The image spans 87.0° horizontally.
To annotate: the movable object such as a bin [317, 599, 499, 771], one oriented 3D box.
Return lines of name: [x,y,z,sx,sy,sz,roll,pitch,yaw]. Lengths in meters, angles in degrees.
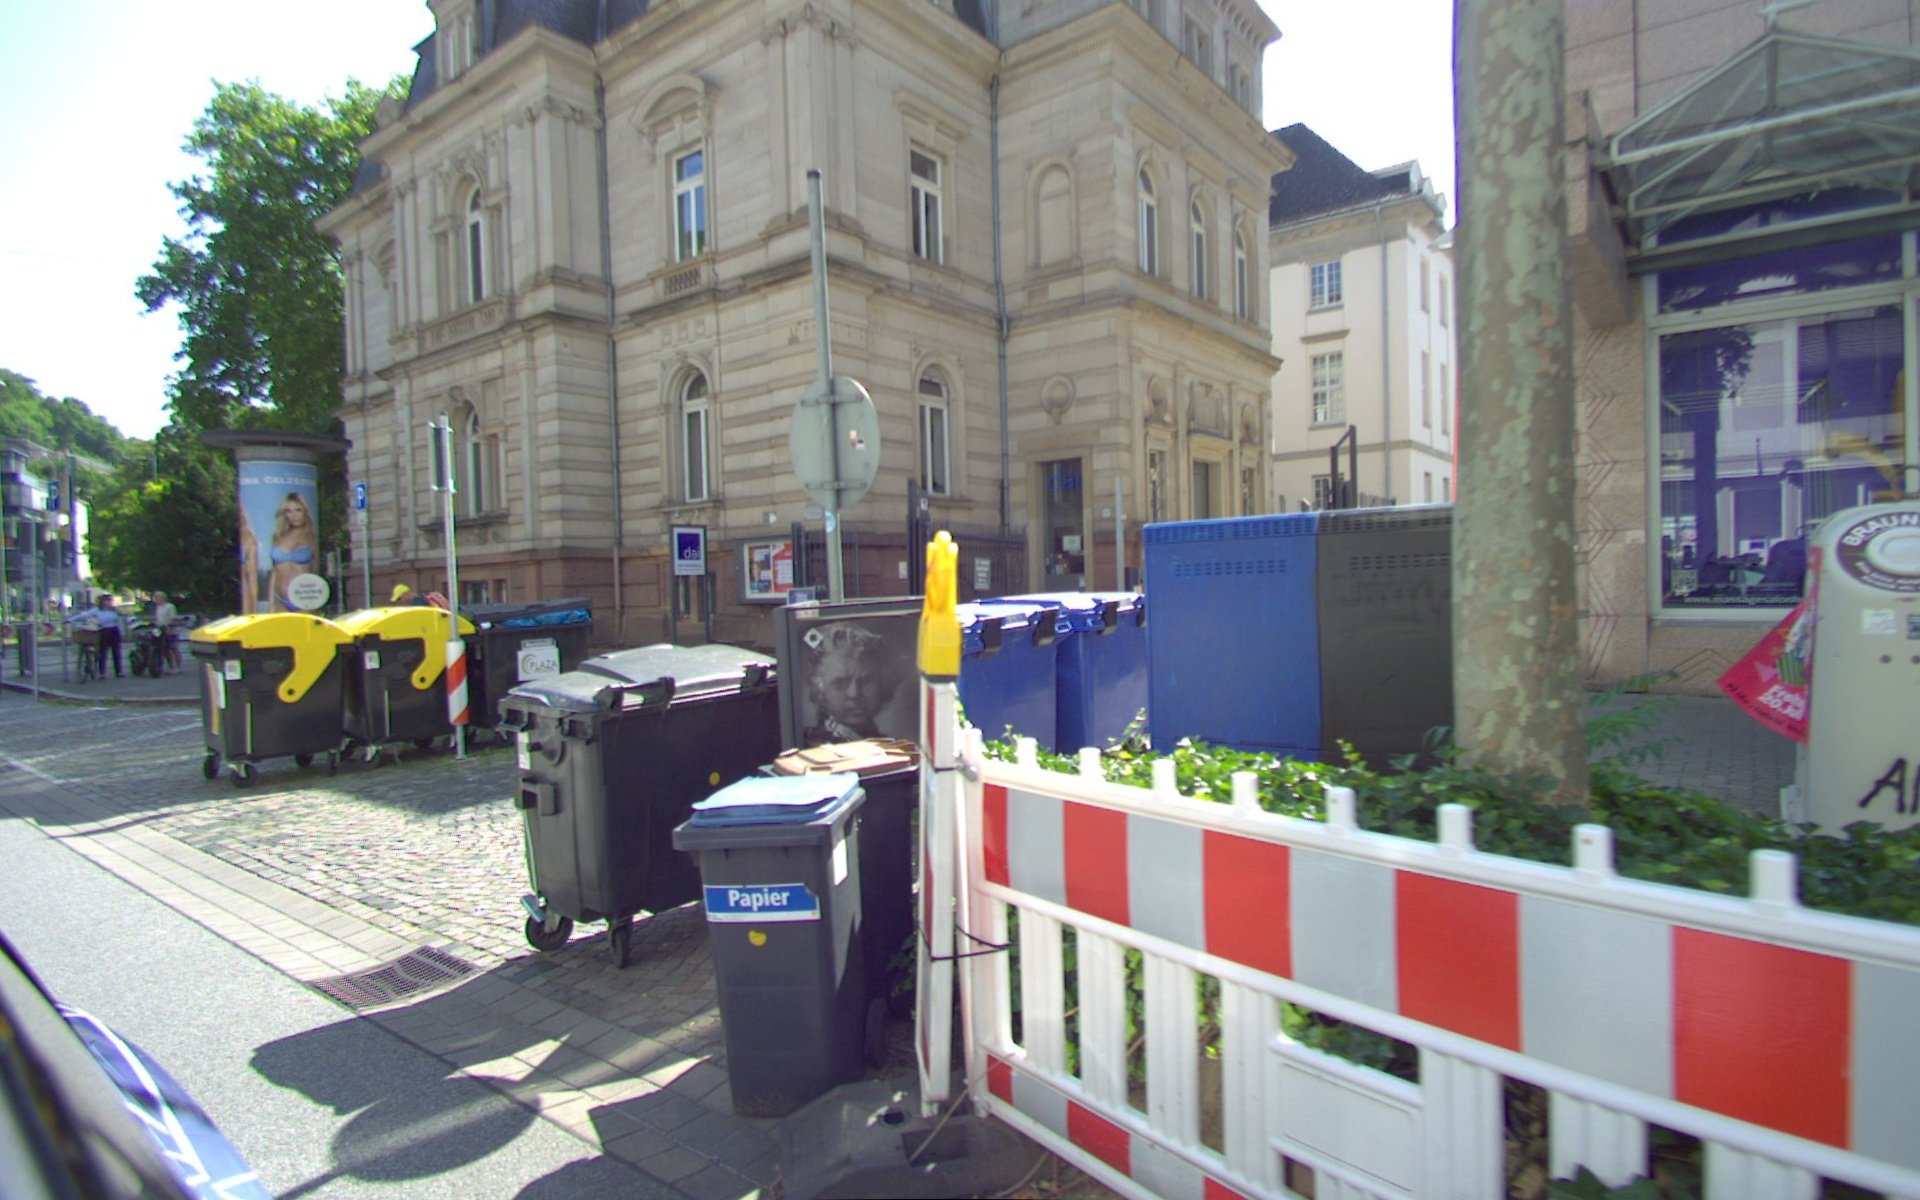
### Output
movable object such as a bin: [-5.409,0.780,9.900,1.439,1.461,1.111,-3,1,44]

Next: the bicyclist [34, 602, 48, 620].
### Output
bicyclist: [-82.310,0.975,90.646,0.753,1.648,0.946,-1,1,-29]

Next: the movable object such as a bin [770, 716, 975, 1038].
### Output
movable object such as a bin: [-0.321,0.921,3.584,0.492,0.946,0.556,0,-2,-36]

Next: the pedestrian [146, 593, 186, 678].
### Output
pedestrian: [-16.154,0.694,20.587,0.542,1.677,0.938,-2,2,-43]

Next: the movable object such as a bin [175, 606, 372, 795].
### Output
movable object such as a bin: [-6.173,0.837,9.087,1.439,1.461,1.111,-3,1,44]

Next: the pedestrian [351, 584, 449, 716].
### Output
pedestrian: [-7.716,0.665,13.958,0.746,1.738,0.882,-1,1,31]

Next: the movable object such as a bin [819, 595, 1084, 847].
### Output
movable object such as a bin: [-0.033,0.681,6.337,1.078,1.309,1.197,-3,2,38]

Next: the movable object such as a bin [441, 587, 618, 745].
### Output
movable object such as a bin: [-4.533,0.654,10.651,1.364,1.461,1.196,-3,2,44]

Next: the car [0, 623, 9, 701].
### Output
car: [-19.107,1.163,18.544,4.245,1.364,1.917,-2,0,40]

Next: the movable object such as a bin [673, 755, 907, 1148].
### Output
movable object such as a bin: [-0.477,0.968,2.978,0.495,0.946,0.553,-2,-1,12]

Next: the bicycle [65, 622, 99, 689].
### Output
bicycle: [-17.142,1.053,19.770,0.424,1.128,2.246,-4,4,-41]

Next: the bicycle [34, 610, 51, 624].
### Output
bicycle: [-82.510,1.548,91.016,0.747,1.129,2.008,-1,2,-30]

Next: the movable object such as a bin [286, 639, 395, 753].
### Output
movable object such as a bin: [-6.614,1.008,10.815,0.654,1.106,0.717,-3,1,30]

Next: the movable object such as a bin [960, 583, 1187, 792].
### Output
movable object such as a bin: [0.843,0.583,7.404,1.126,1.309,1.197,-3,1,38]

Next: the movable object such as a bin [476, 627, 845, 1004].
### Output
movable object such as a bin: [-1.273,0.807,4.453,0.852,1.309,1.265,-1,1,38]

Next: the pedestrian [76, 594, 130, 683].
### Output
pedestrian: [-17.139,0.748,20.243,0.690,1.707,0.687,0,1,41]

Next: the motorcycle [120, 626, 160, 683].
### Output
motorcycle: [-16.431,1.061,20.256,0.448,1.005,2.163,-4,3,-42]

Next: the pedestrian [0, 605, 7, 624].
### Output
pedestrian: [-85.911,1.337,90.592,0.699,1.685,0.536,-2,1,-30]
